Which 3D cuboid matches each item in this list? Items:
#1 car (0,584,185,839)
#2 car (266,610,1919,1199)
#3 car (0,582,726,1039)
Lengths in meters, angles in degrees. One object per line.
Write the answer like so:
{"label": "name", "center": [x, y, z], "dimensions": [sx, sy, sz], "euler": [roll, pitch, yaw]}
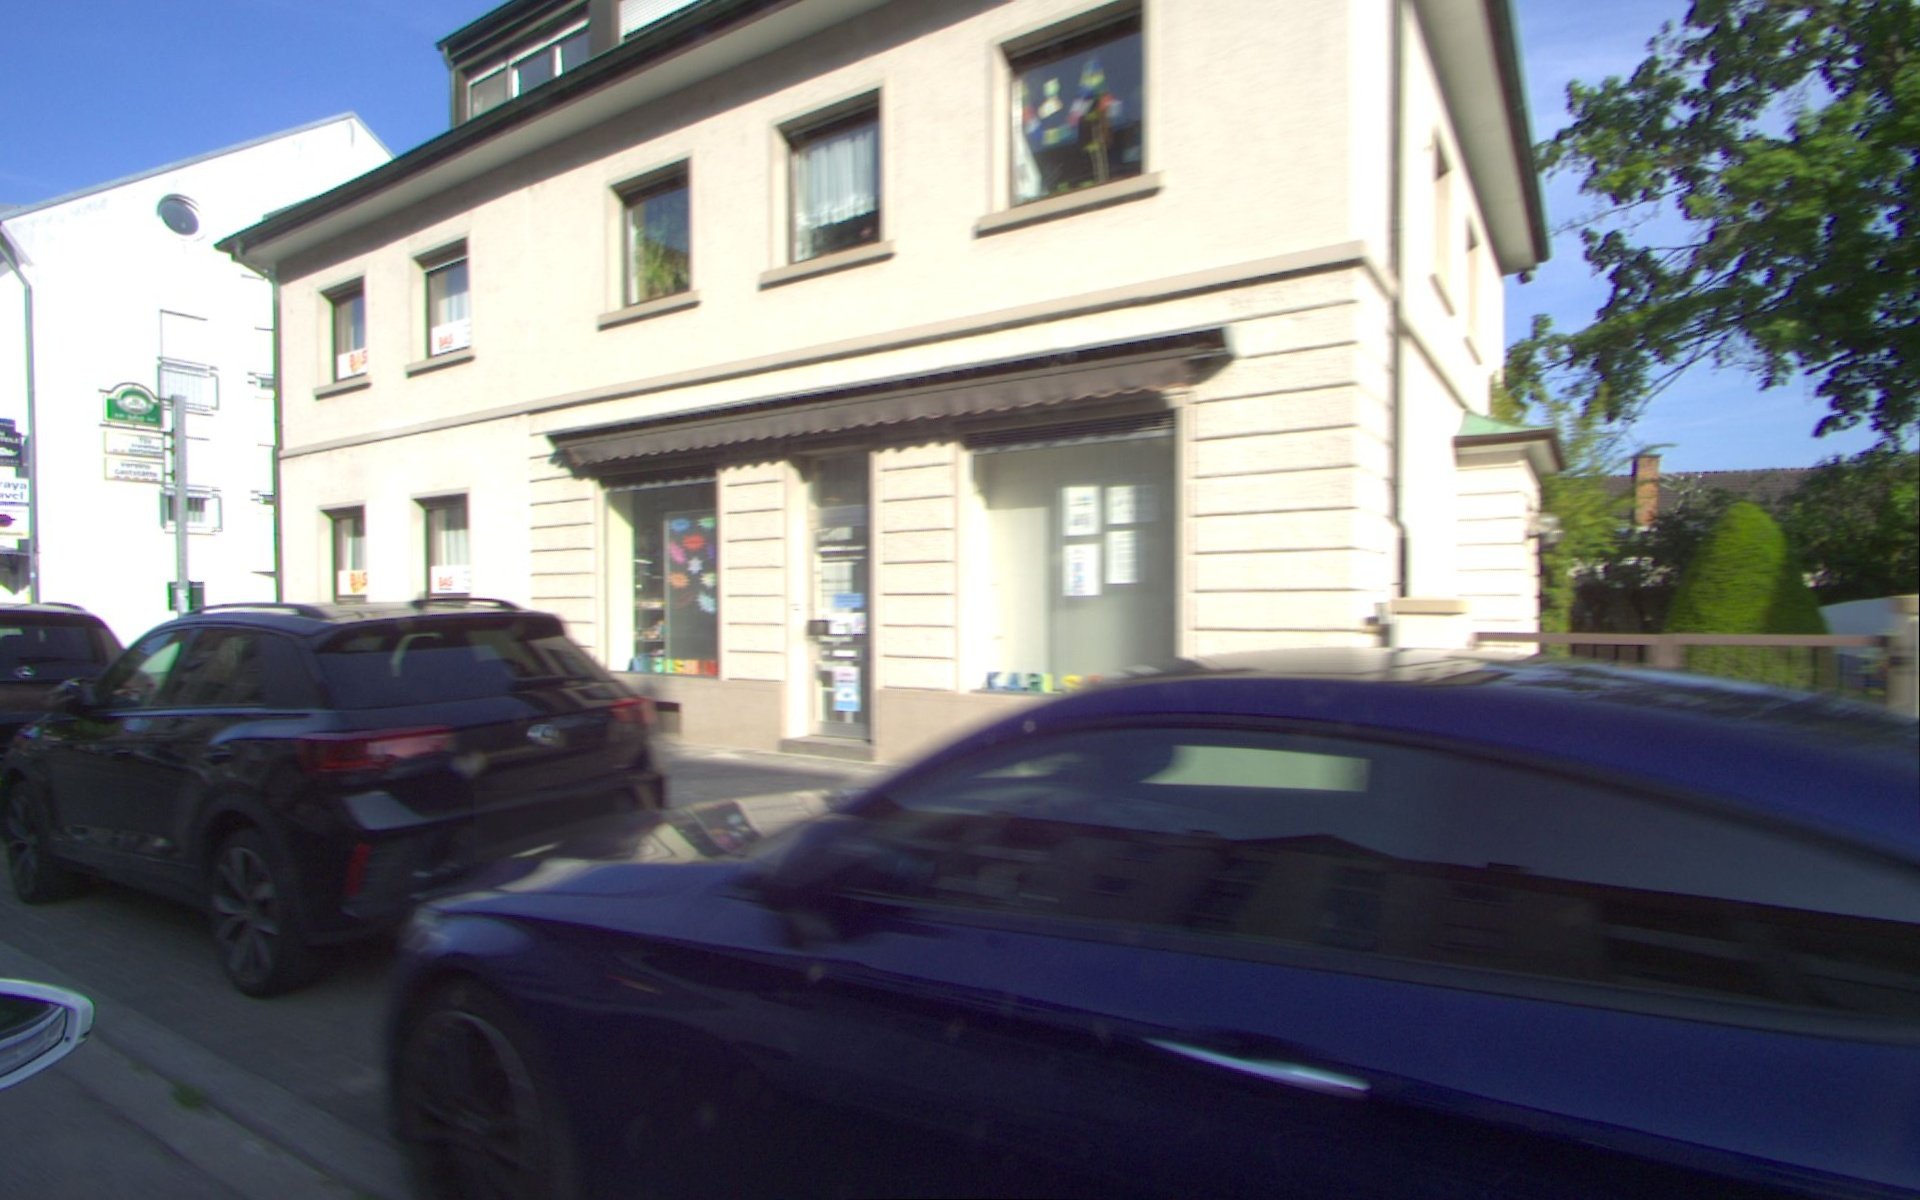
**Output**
{"label": "car", "center": [-8.009, 0.743, 7.812], "dimensions": [4.402, 1.652, 1.825], "euler": [-1, 0, 34]}
{"label": "car", "center": [0.509, 0.760, 2.259], "dimensions": [4.544, 1.439, 1.825], "euler": [-1, 0, 33]}
{"label": "car", "center": [-3.457, 0.742, 5.360], "dimensions": [4.255, 1.581, 1.826], "euler": [-1, 0, 32]}
